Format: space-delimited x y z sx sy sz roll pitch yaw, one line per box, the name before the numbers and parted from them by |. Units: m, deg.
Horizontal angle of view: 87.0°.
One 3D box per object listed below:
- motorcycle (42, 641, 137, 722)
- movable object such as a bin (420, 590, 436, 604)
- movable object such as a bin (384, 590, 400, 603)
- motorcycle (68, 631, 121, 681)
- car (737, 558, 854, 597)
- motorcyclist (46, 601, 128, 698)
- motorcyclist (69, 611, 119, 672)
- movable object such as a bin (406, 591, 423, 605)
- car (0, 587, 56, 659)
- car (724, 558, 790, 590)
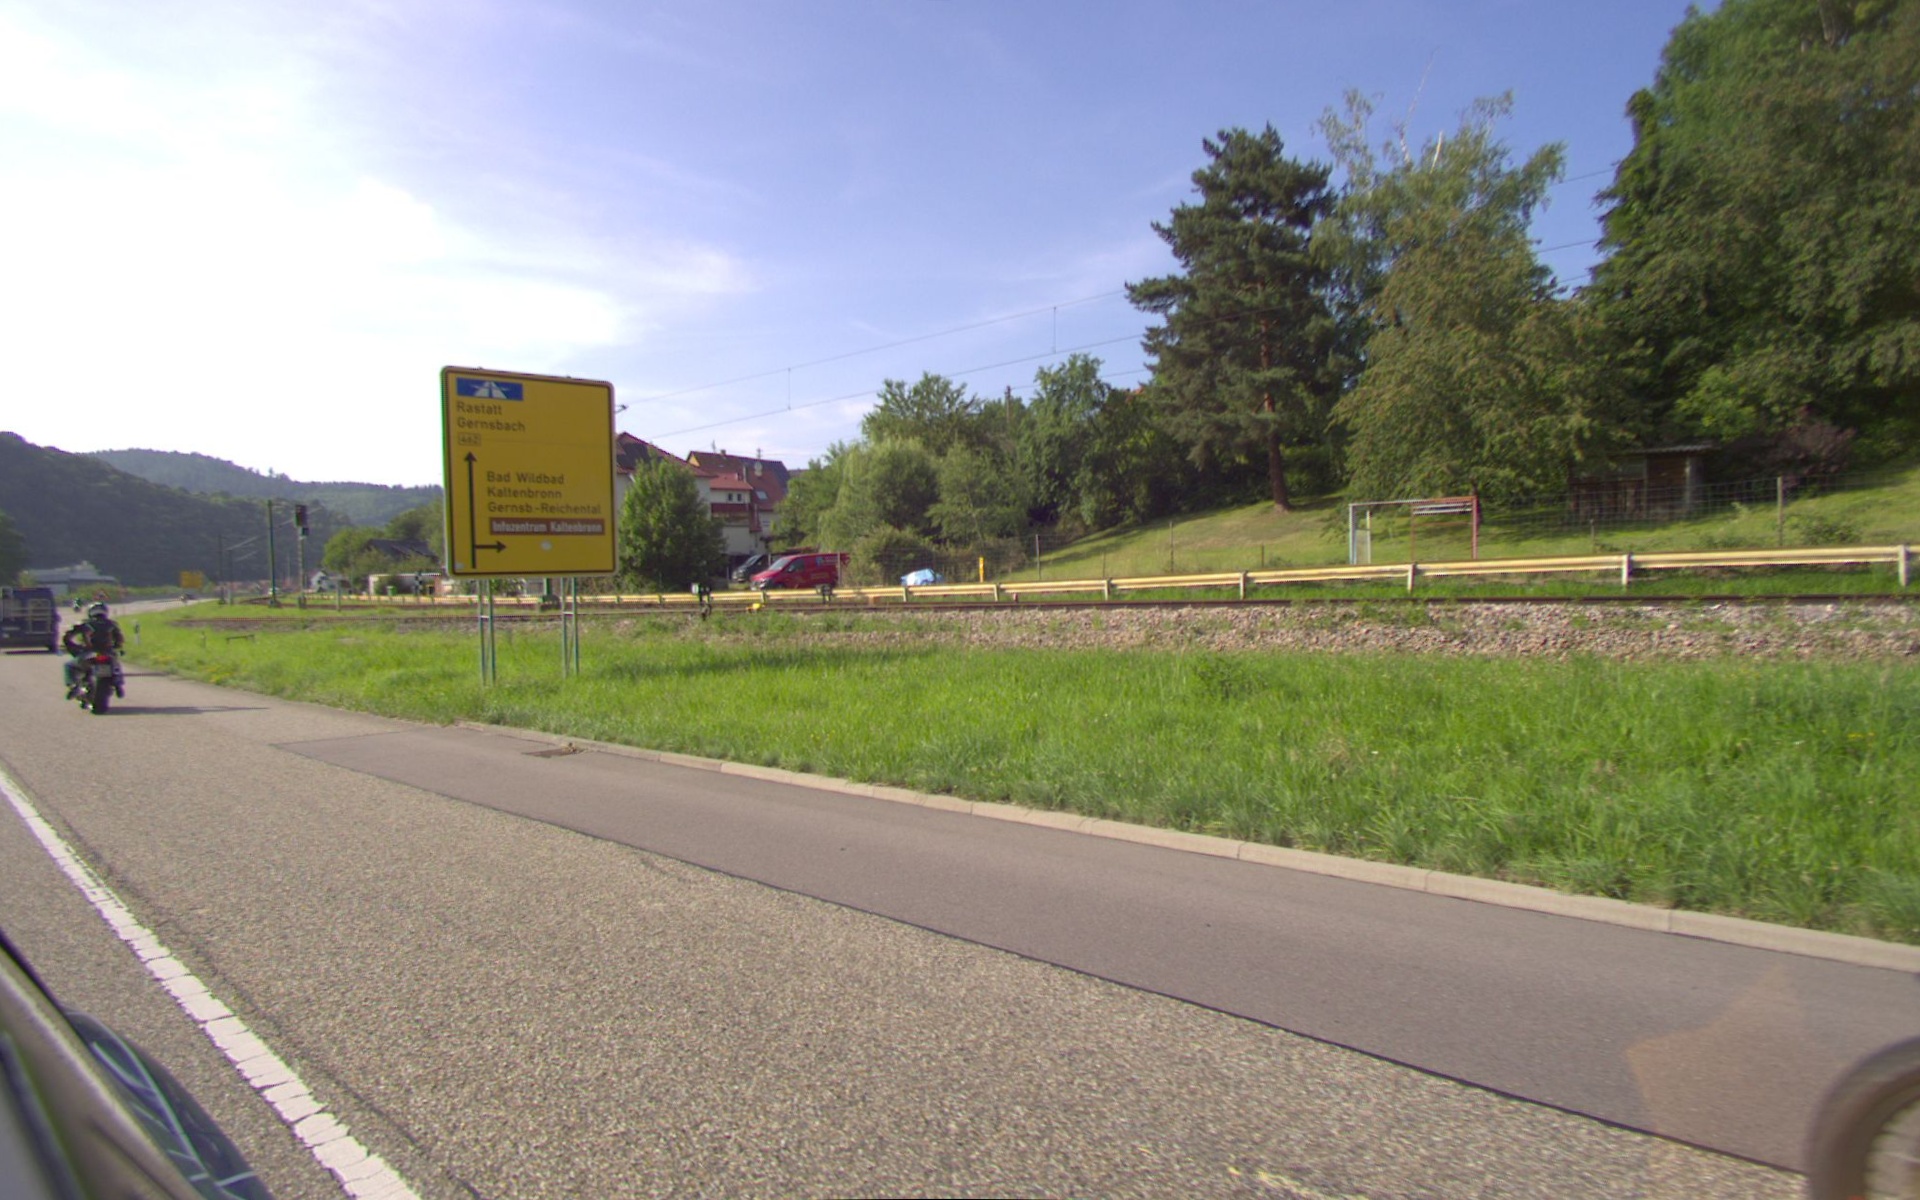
motorcycle | -13.470 1.216 15.632 2.125 1.139 0.853 -2 -1 42
movable object such as a bin | -48.164 -0.291 91.641 1.076 1.200 1.145 -3 2 -40
movable object such as a bin | -56.311 -0.327 100.285 1.094 1.200 1.127 0 2 45
motorcycle | -21.318 1.356 24.918 0.852 1.139 1.969 -1 -1 -45
car | -7.790 -1.078 48.134 4.901 1.704 2.461 -3 2 -38
motorcyclist | -13.543 0.752 15.693 0.963 1.434 0.834 -3 -1 42
motorcyclist | -21.350 1.014 24.945 0.964 1.434 0.834 -3 -1 45
movable object such as a bin | -49.006 -0.152 90.893 1.076 1.200 1.145 -3 2 -40
car | -37.090 0.899 39.547 5.479 2.635 2.103 -1 -1 43
car | -13.836 -1.786 69.160 3.936 1.803 1.824 -6 4 -37
